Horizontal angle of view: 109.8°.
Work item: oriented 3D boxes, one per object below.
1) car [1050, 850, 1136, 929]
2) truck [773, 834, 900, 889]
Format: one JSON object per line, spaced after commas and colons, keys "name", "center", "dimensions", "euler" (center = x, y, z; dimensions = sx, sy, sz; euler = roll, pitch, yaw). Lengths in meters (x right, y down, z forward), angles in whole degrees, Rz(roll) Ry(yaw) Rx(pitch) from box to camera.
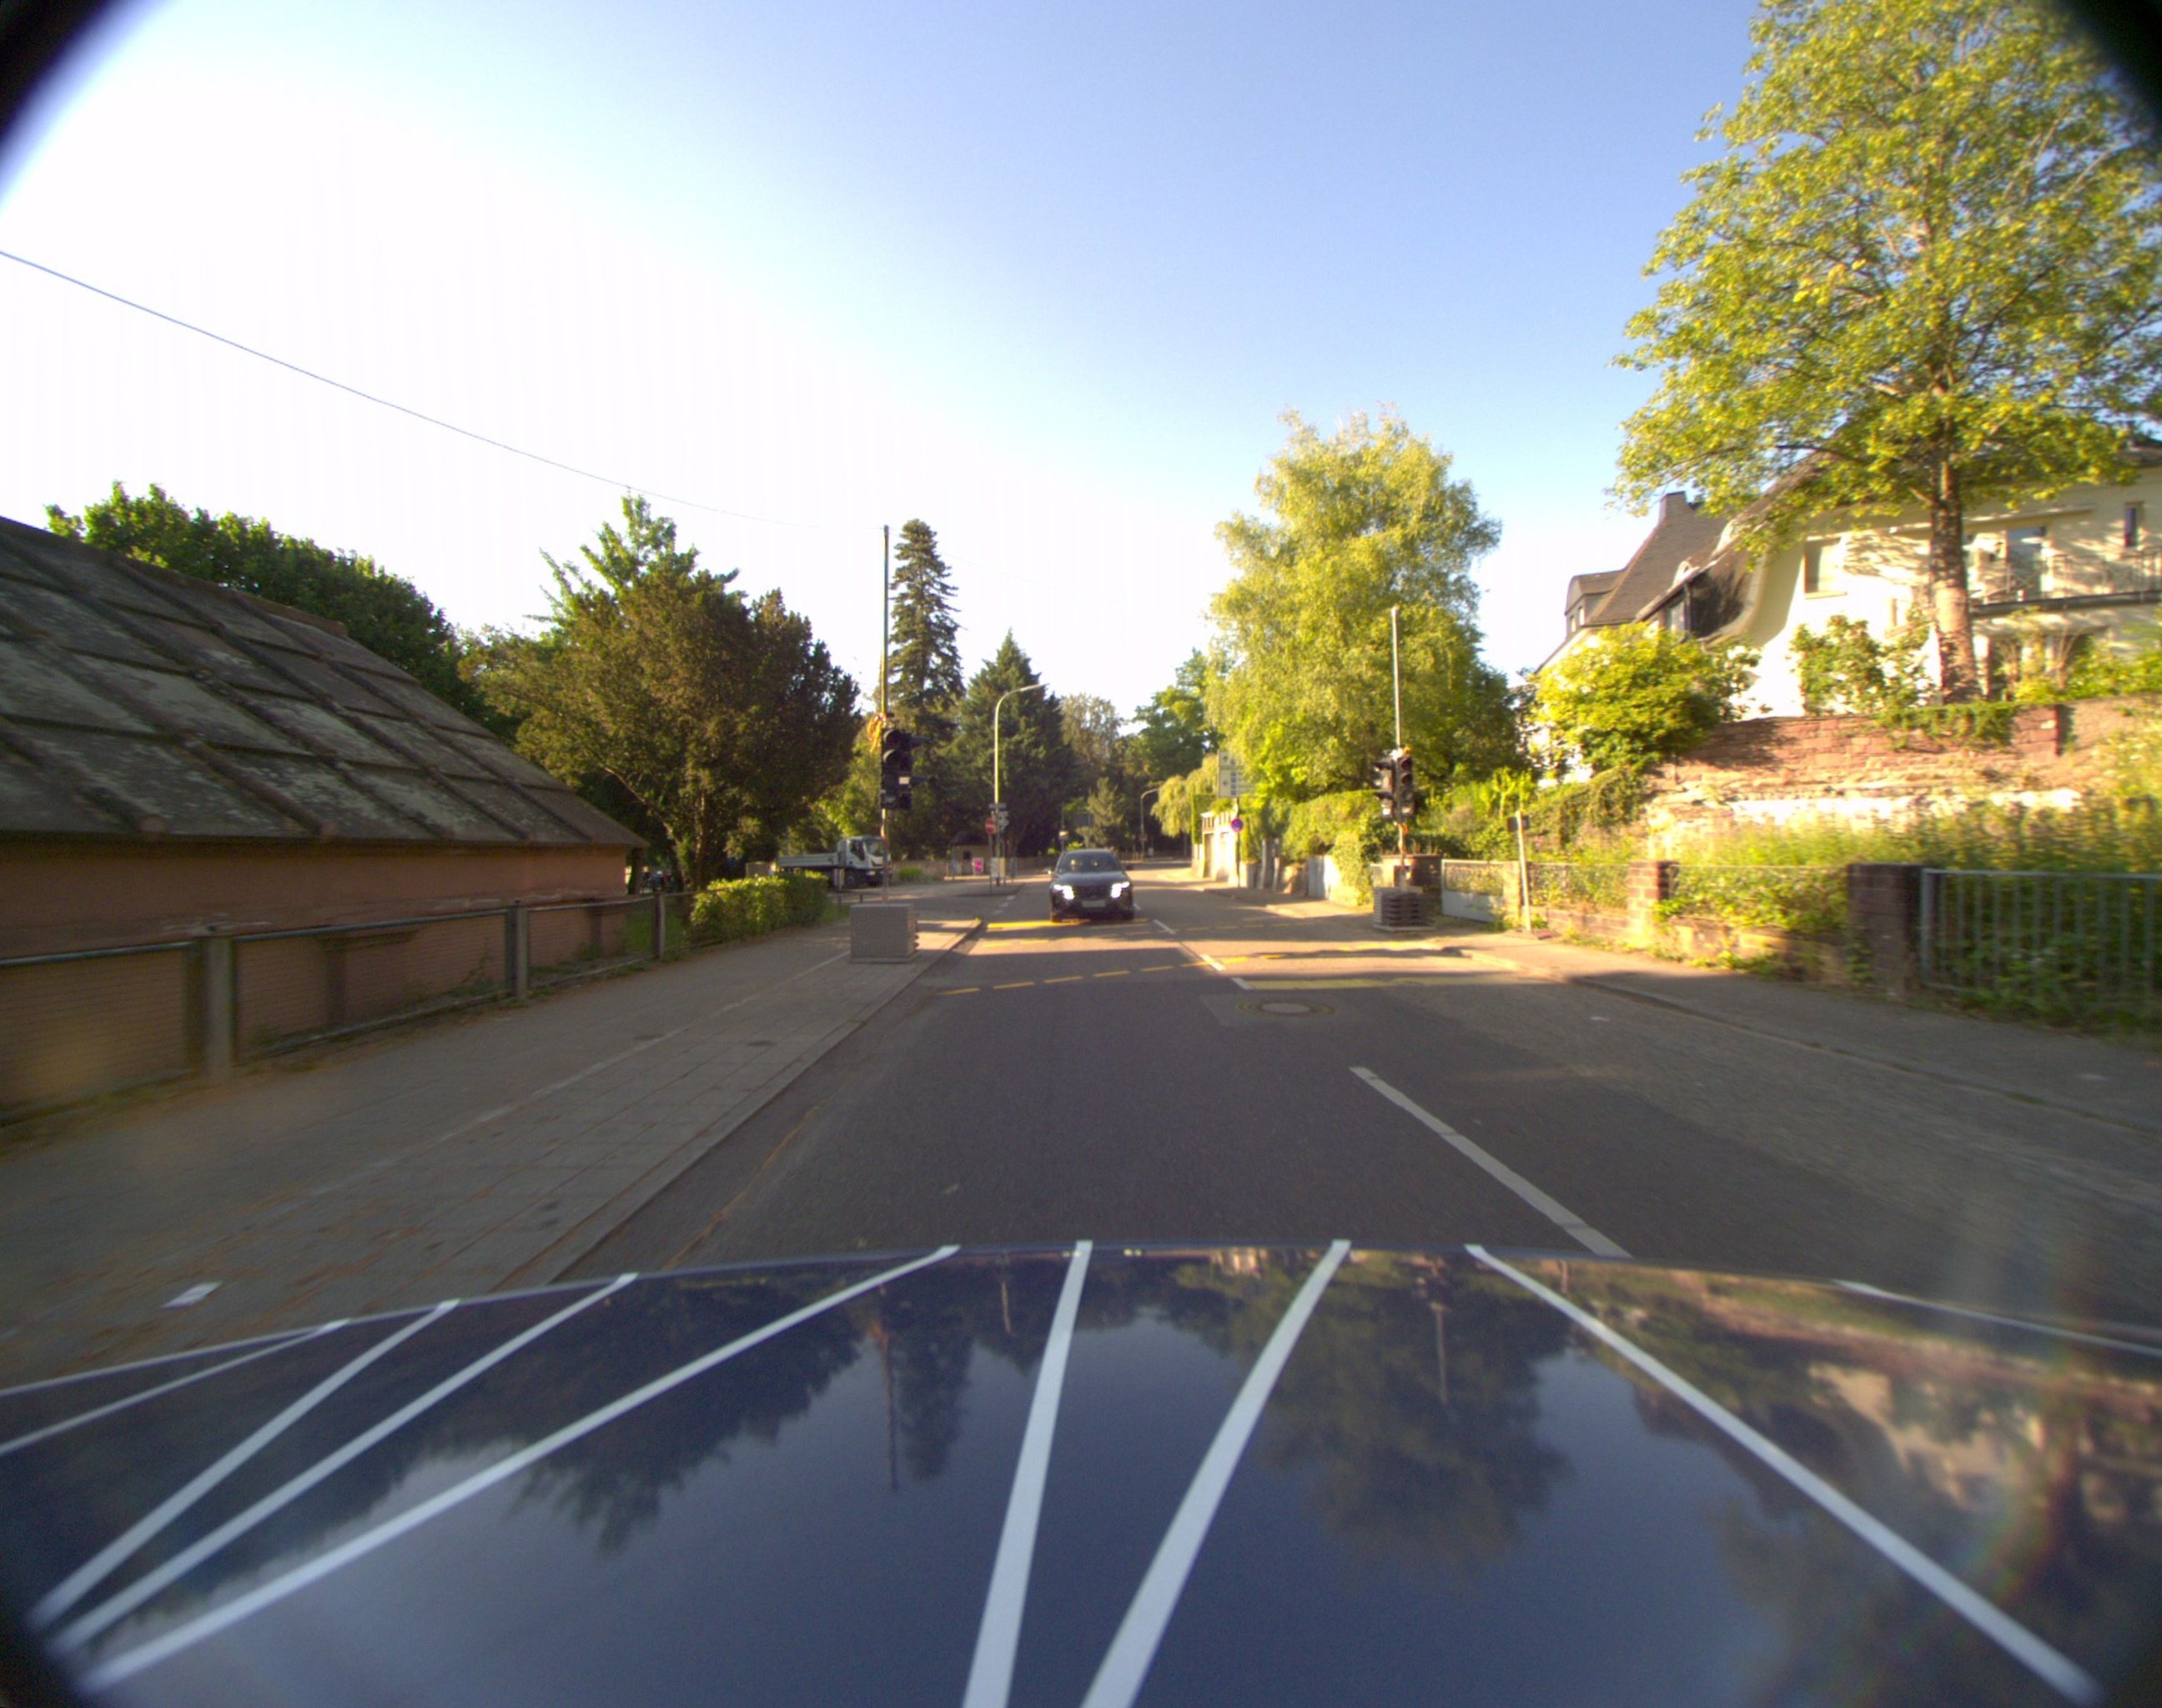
{"name": "car", "center": [0.164, 0.754, 18.413], "dimensions": [1.788, 1.639, 4.473], "euler": [-1, 0, -2]}
{"name": "truck", "center": [-13.661, 0.435, 42.464], "dimensions": [6.497, 2.736, 2.373], "euler": [-3, 1, 20]}
